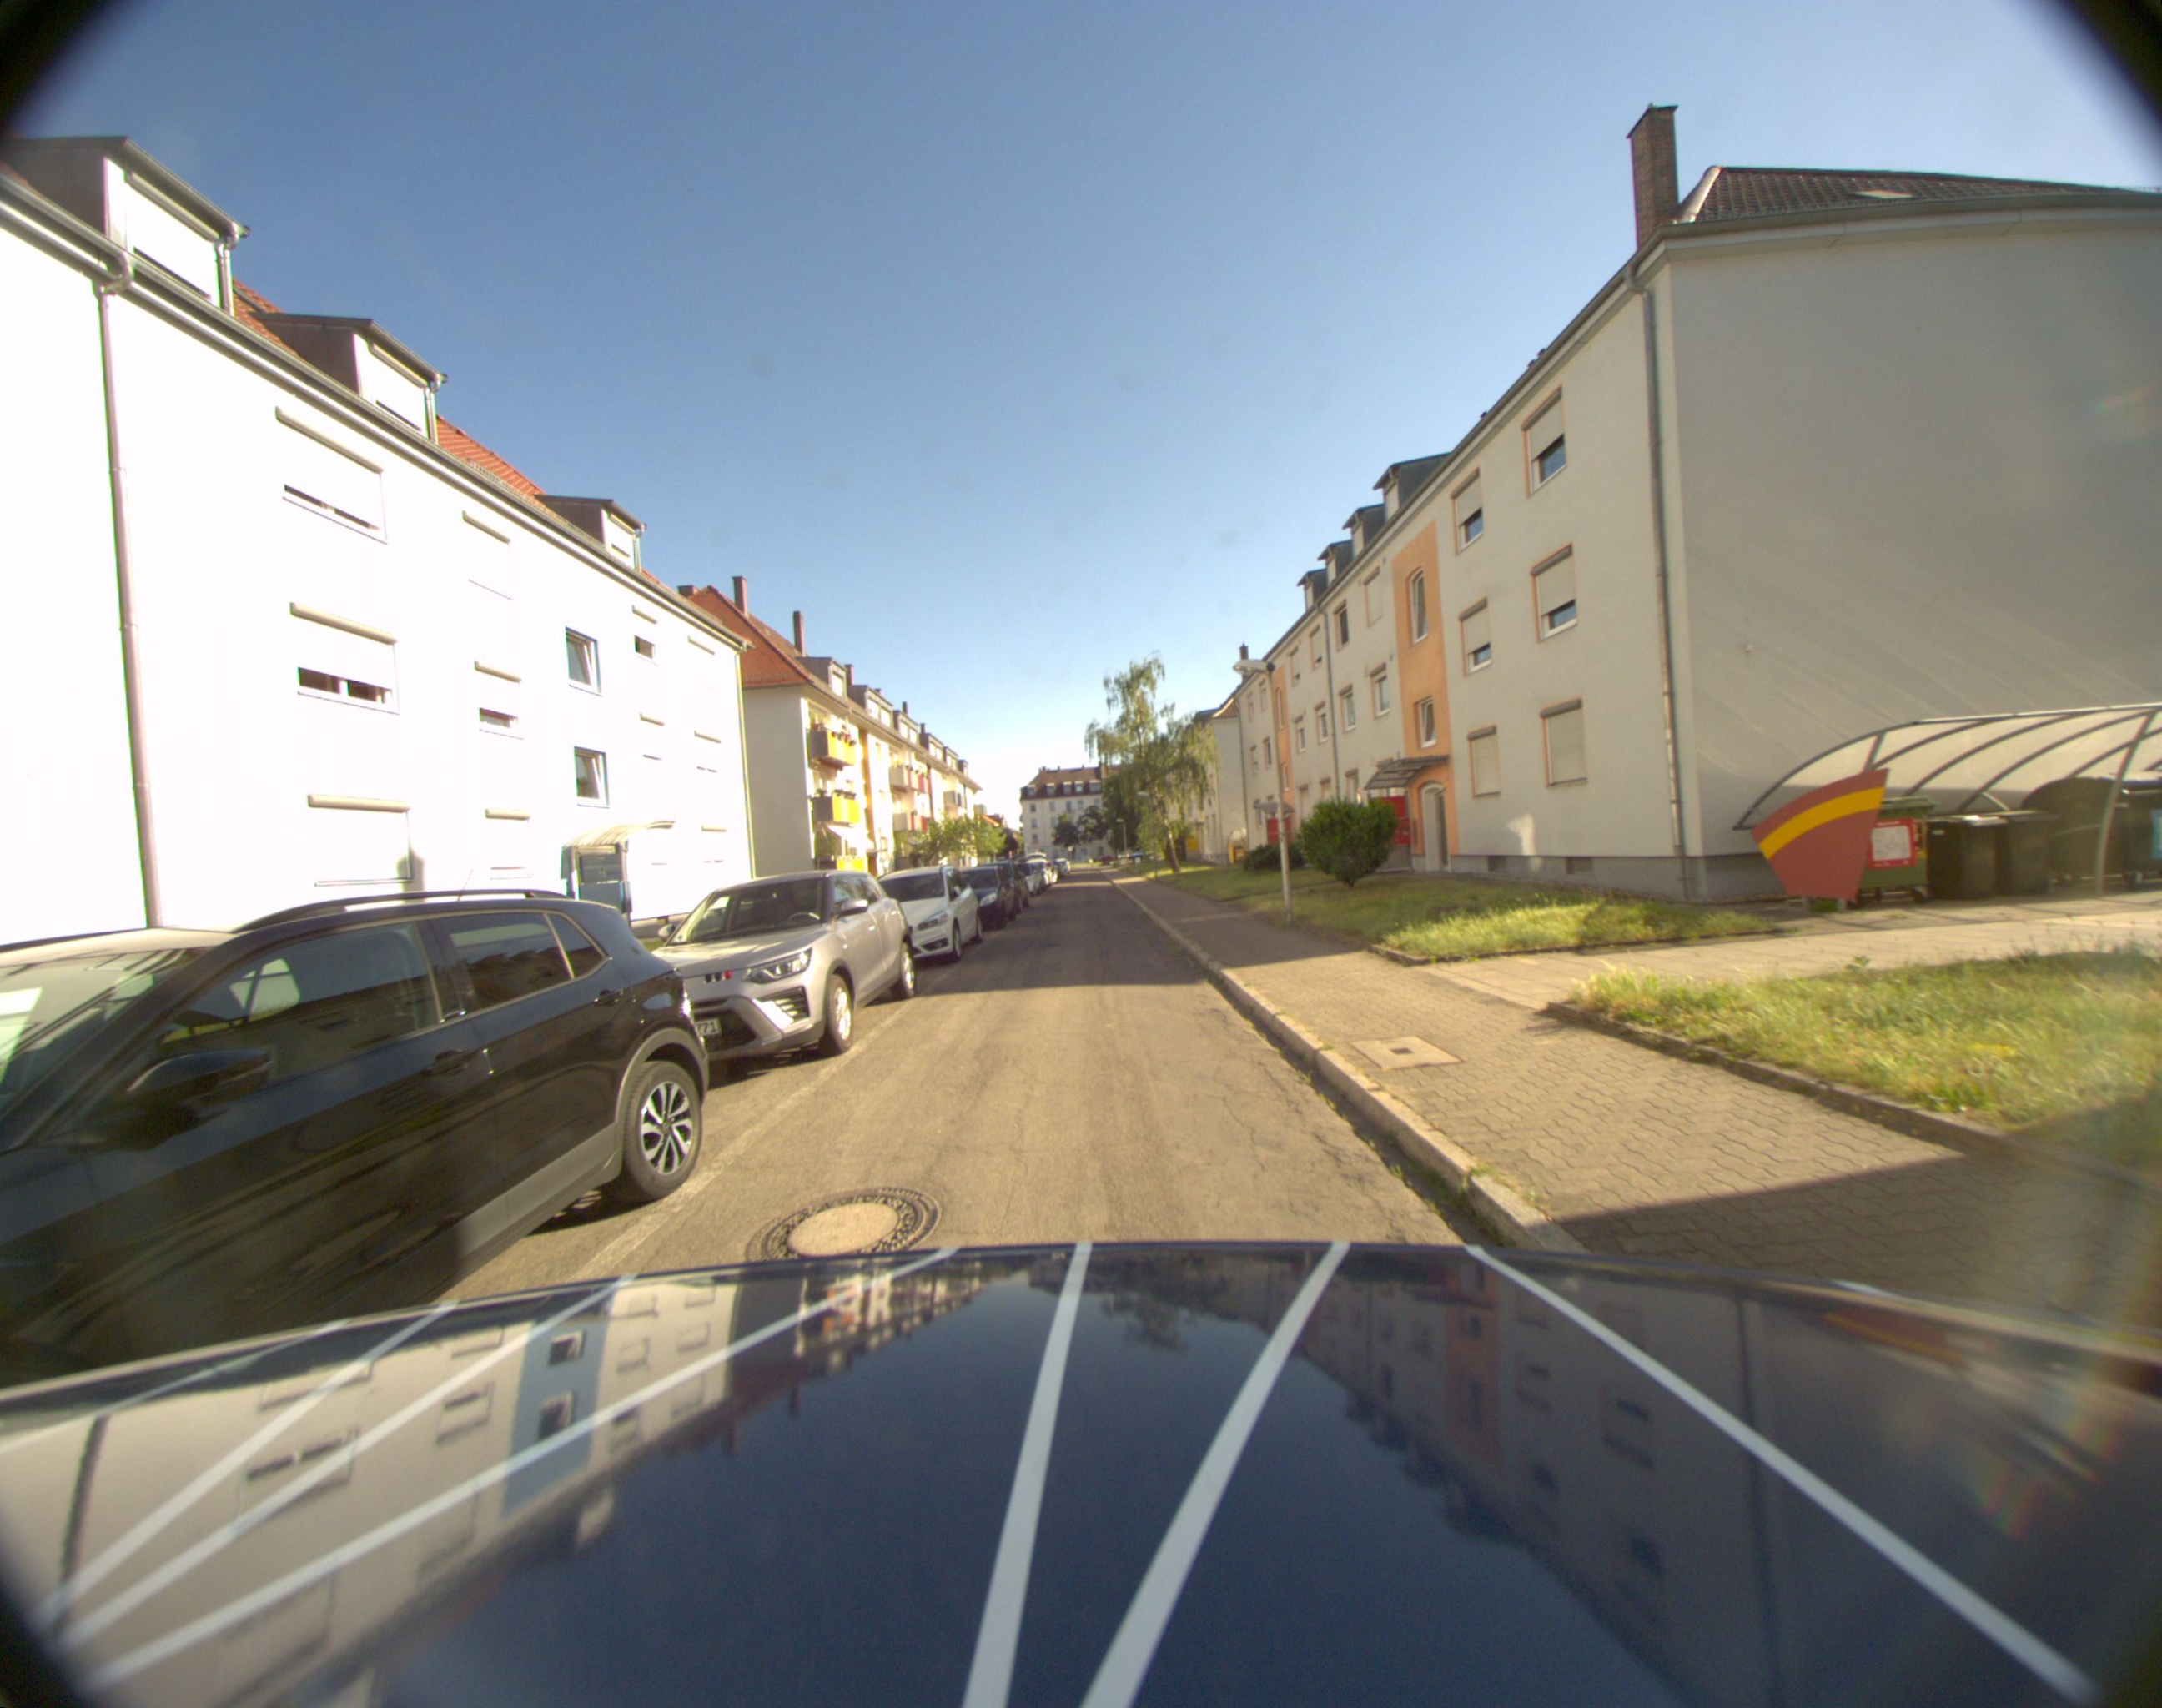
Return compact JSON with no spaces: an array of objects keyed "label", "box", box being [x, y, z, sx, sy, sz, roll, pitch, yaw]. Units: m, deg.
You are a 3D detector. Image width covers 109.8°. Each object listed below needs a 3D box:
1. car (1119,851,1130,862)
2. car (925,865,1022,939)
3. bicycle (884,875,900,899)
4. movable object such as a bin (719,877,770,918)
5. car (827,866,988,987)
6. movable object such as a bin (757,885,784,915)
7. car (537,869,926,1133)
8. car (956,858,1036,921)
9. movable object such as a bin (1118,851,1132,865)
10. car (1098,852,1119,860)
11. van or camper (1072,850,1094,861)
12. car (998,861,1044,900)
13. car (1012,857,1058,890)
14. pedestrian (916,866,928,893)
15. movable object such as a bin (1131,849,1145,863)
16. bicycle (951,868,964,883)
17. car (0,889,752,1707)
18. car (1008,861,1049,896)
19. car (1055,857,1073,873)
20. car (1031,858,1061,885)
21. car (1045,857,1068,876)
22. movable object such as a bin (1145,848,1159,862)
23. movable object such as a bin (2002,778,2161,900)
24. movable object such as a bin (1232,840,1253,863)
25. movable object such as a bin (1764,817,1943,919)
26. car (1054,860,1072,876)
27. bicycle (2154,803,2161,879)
[{"label":"car","box":[6.880,0.334,119.970,1.678,1.645,3.305,-3,0,4]},{"label":"car","box":[-2.588,1.112,19.199,1.645,1.489,4.157,-4,0,2]},{"label":"bicycle","box":[-9.712,1.679,39.053,0.404,1.126,1.273,-4,0,1]},{"label":"movable object such as a bin","box":[-12.668,1.640,28.634,1.331,1.399,1.106,-2,3,1]},{"label":"car","box":[-2.812,1.096,13.338,1.695,1.566,4.434,-5,0,0]},{"label":"movable object such as a bin","box":[-11.665,1.705,28.542,0.644,1.029,0.757,-2,3,1]},{"label":"car","box":[-2.912,1.075,7.589,1.755,1.608,4.451,-6,0,-1]},{"label":"car","box":[-2.616,1.046,24.297,1.787,1.638,4.469,-5,0,2]},{"label":"movable object such as a bin","box":[5.037,0.432,86.933,1.318,1.451,1.198,-8,1,1]},{"label":"car","box":[5.524,0.398,152.240,3.996,1.477,1.722,-3,0,2]},{"label":"van or camper","box":[0.346,0.276,152.604,4.355,1.852,2.000,-3,0,-1]},{"label":"car","box":[-2.658,1.171,34.476,1.483,1.520,2.941,-6,0,5]},{"label":"car","box":[-2.582,1.057,44.070,1.998,1.603,4.996,-6,0,3]},{"label":"pedestrian","box":[-8.803,1.410,42.083,0.451,1.486,0.360,-3,2,1]},{"label":"movable object such as a bin","box":[6.520,0.258,86.990,1.358,1.451,1.082,-8,1,1]},{"label":"bicycle","box":[-9.157,1.615,56.376,0.521,1.042,2.288,-2,0,1]},{"label":"car","box":[-2.907,1.081,2.335,1.716,1.586,4.397,-5,0,0]},{"label":"car","box":[-2.605,1.202,38.747,1.698,1.482,3.984,-6,0,0]},{"label":"car","box":[-1.923,1.183,85.625,1.805,1.583,4.581,-5,0,0]},{"label":"car","box":[-2.273,1.124,50.072,1.777,1.496,4.480,-5,0,-1]},{"label":"car","box":[-2.176,1.095,68.243,1.717,1.501,3.853,-7,0,0]},{"label":"movable object such as a bin","box":[8.129,0.072,87.003,1.363,1.445,1.073,-8,1,0]},{"label":"movable object such as a bin","box":[12.999,-0.190,9.777,1.062,1.433,0.947,-5,0,0]},{"label":"movable object such as a bin","box":[10.433,-0.132,49.022,1.087,1.398,0.813,-5,0,1]},{"label":"movable object such as a bin","box":[9.960,0.173,9.846,1.317,1.161,0.910,-4,0,0]},{"label":"car","box":[-1.878,1.424,80.316,1.695,1.410,4.097,-6,0,0]},{"label":"bicycle","box":[15.229,-0.198,9.613,0.509,1.061,1.941,-5,0,1]}]
